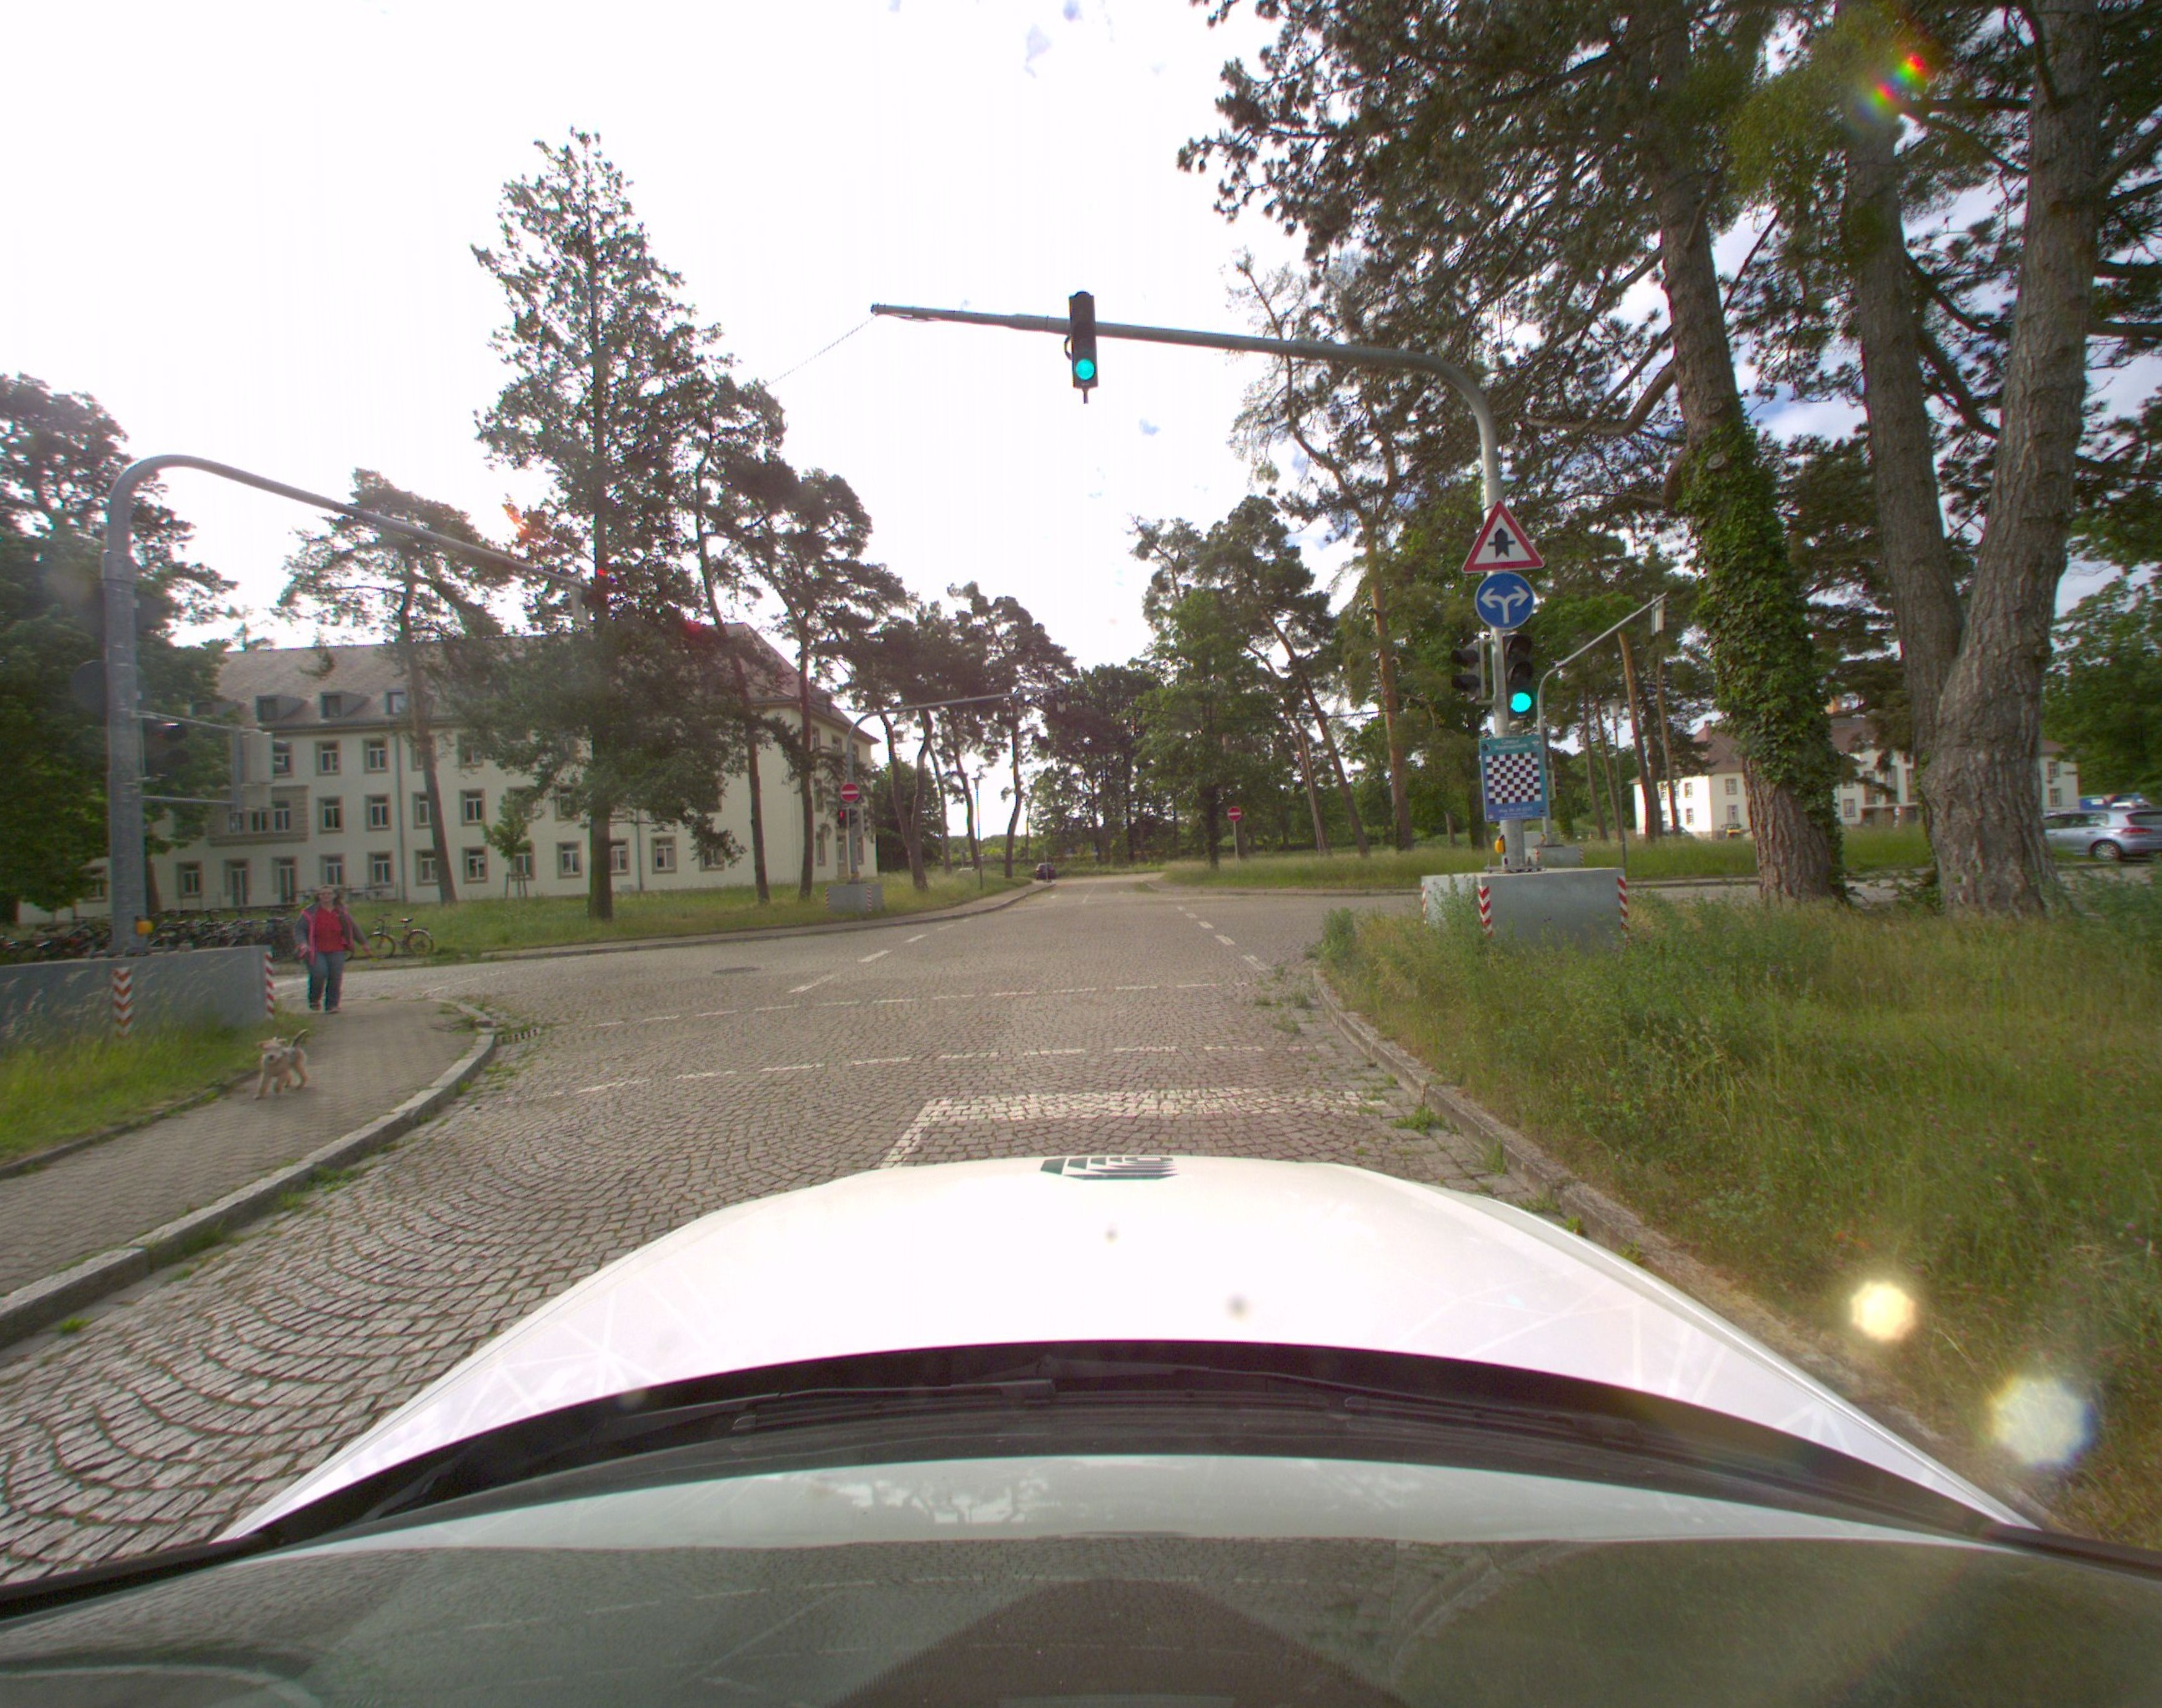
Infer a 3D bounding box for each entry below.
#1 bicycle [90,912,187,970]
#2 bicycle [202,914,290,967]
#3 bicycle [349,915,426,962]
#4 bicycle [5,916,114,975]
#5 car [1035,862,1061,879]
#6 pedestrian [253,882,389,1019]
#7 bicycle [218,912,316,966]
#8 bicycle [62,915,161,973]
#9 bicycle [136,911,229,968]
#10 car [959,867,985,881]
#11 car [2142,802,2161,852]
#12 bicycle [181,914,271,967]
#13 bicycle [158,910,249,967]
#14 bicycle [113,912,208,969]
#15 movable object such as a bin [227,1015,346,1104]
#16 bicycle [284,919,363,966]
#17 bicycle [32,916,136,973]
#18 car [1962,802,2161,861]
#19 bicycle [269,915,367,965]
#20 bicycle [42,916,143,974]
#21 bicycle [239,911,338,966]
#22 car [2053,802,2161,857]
[{"bbox_3d":[-24.162,2.208,20.914,0.447,1.283,1.695,-3,-1,1],"label":"bicycle"},{"bbox_3d":[-21.381,2.187,20.890,0.447,1.178,1.695,-3,-1,1],"label":"bicycle"},{"bbox_3d":[-16.575,2.021,19.474,1.453,0.996,0.452,-3,-1,2],"label":"bicycle"},{"bbox_3d":[-26.242,2.326,20.974,0.447,1.283,1.828,-3,-1,1],"label":"bicycle"},{"bbox_3d":[-3.066,1.565,76.495,1.985,1.508,4.003,-1,0,3],"label":"car"},{"bbox_3d":[-10.019,1.248,10.768,0.853,1.668,0.944,-3,-1,15],"label":"pedestrian"},{"bbox_3d":[-20.868,2.159,20.938,0.525,1.178,1.930,-3,-1,1],"label":"bicycle"},{"bbox_3d":[-24.825,2.281,20.898,0.447,1.283,1.695,-3,-1,1],"label":"bicycle"},{"bbox_3d":[-23.083,2.175,20.963,0.447,1.283,1.695,-3,-1,1],"label":"bicycle"},{"bbox_3d":[-10.410,1.926,77.753,1.682,1.156,4.003,-3,-1,3],"label":"car"},{"bbox_3d":[34.107,-0.902,23.256,1.747,1.524,4.445,-3,0,-1],"label":"car"},{"bbox_3d":[-21.867,2.189,20.877,0.447,1.178,1.695,-3,-1,1],"label":"bicycle"},{"bbox_3d":[-22.578,2.160,20.996,0.447,1.283,1.695,-3,-1,1],"label":"bicycle"},{"bbox_3d":[-23.599,2.190,20.928,0.447,1.283,1.695,-3,-1,1],"label":"bicycle"},{"bbox_3d":[-6.415,1.644,6.608,0.445,0.503,0.746,-3,-1,-24],"label":"movable object such as a bin"},{"bbox_3d":[-18.098,2.119,19.477,1.453,0.996,0.452,-3,-1,2],"label":"bicycle"},{"bbox_3d":[-25.775,2.313,21.100,0.441,1.283,1.785,-3,-1,1],"label":"bicycle"},{"bbox_3d":[29.046,-0.615,23.843,1.745,1.524,4.451,-3,-1,3],"label":"car"},{"bbox_3d":[-19.587,2.186,20.965,0.573,1.078,1.996,-3,-1,1],"label":"bicycle"},{"bbox_3d":[-25.311,2.295,20.894,0.447,1.283,1.695,-3,-1,1],"label":"bicycle"},{"bbox_3d":[-20.285,2.141,20.899,0.573,1.178,1.954,-3,-1,1],"label":"bicycle"},{"bbox_3d":[31.460,-0.747,23.353,1.748,1.524,4.444,-3,0,-2],"label":"car"}]
